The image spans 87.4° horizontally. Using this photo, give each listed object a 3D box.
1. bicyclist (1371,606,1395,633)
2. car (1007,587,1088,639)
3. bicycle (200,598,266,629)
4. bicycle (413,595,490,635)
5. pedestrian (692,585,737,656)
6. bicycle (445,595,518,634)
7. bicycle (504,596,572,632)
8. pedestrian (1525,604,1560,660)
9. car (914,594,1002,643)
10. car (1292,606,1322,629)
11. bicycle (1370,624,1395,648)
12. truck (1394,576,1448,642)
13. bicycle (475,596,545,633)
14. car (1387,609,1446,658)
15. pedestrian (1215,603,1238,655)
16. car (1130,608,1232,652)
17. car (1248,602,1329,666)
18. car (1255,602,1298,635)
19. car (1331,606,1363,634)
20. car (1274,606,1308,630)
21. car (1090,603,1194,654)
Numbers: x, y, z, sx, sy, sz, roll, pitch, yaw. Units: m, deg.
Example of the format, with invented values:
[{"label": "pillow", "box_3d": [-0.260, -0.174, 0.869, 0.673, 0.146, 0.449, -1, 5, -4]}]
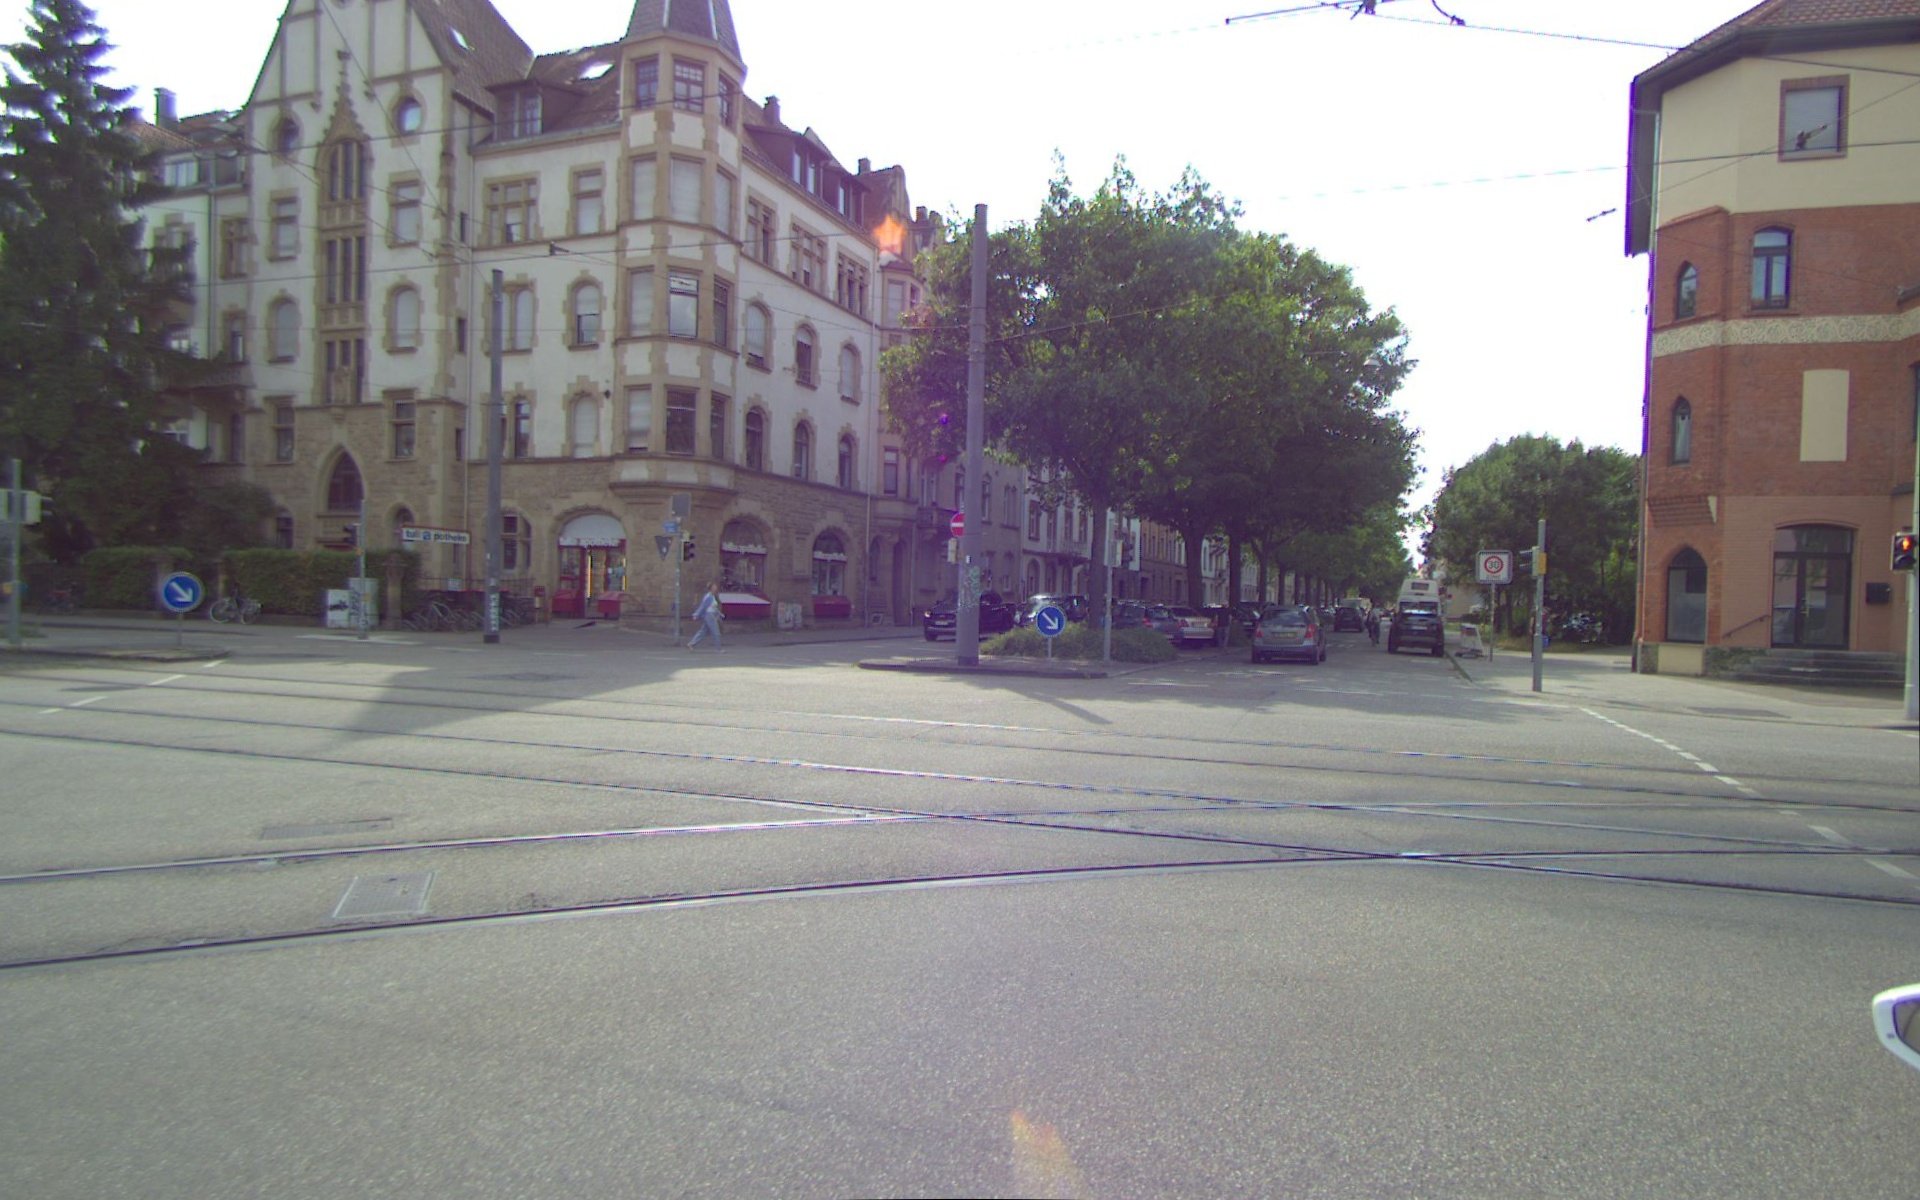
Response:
[{"label": "bicyclist", "box_3d": [18.163, 0.835, 43.103, 0.824, 1.096, 1.398, 1, 0, 28]}, {"label": "car", "box_3d": [3.236, 0.465, 36.412, 1.960, 1.751, 4.000, 1, 0, 19]}, {"label": "bicycle", "box_3d": [-21.385, 0.396, 29.557, 1.883, 0.859, 0.471, 1, 0, 15]}, {"label": "bicycle", "box_3d": [-14.381, 0.414, 28.429, 1.883, 1.095, 0.779, 1, 0, 15]}, {"label": "pedestrian", "box_3d": [-6.217, 0.518, 25.397, 1.008, 1.745, 0.773, 1, 1, -19]}, {"label": "bicycle", "box_3d": [-14.129, 0.423, 29.688, 1.883, 1.095, 0.779, 1, 0, 15]}, {"label": "bicycle", "box_3d": [-13.434, 0.444, 31.990, 1.883, 1.095, 0.779, 1, 0, 15]}, {"label": "pedestrian", "box_3d": [17.785, 0.966, 30.675, 0.856, 1.679, 0.735, 2, 1, 29]}, {"label": "car", "box_3d": [-0.011, 0.645, 36.364, 1.960, 1.639, 4.000, 1, 0, 19]}, {"label": "car", "box_3d": [25.592, 1.270, 73.970, 1.725, 1.537, 3.496, 2, 0, 25]}, {"label": "bicycle", "box_3d": [18.125, 1.544, 43.055, 0.738, 0.971, 2.295, 1, 0, 28]}, {"label": "truck", "box_3d": [22.372, 0.428, 48.704, 2.091, 3.010, 3.994, 1, 0, 28]}, {"label": "bicycle", "box_3d": [-13.796, 0.433, 30.788, 1.883, 1.095, 0.779, 1, 0, 15]}, {"label": "car", "box_3d": [16.905, 1.183, 37.134, 1.726, 1.654, 3.494, 2, 0, 28]}, {"label": "pedestrian", "box_3d": [9.177, 0.981, 34.572, 0.642, 1.748, 0.494, 2, 1, 29]}, {"label": "car", "box_3d": [7.764, 1.026, 35.664, 1.941, 1.357, 3.988, 1, 0, -14]}, {"label": "car", "box_3d": [9.239, 0.900, 28.104, 1.695, 1.627, 3.674, 1, 0, 25]}, {"label": "car", "box_3d": [17.293, 0.988, 54.764, 1.725, 1.654, 3.496, 2, 0, 25]}, {"label": "car", "box_3d": [25.493, 1.295, 66.071, 1.695, 1.728, 3.674, 1, 0, 25]}, {"label": "car", "box_3d": [22.361, 1.204, 67.742, 1.725, 1.537, 3.496, 2, 0, 25]}, {"label": "car", "box_3d": [5.997, 0.913, 33.610, 1.941, 1.515, 3.988, 1, 0, -14]}]
